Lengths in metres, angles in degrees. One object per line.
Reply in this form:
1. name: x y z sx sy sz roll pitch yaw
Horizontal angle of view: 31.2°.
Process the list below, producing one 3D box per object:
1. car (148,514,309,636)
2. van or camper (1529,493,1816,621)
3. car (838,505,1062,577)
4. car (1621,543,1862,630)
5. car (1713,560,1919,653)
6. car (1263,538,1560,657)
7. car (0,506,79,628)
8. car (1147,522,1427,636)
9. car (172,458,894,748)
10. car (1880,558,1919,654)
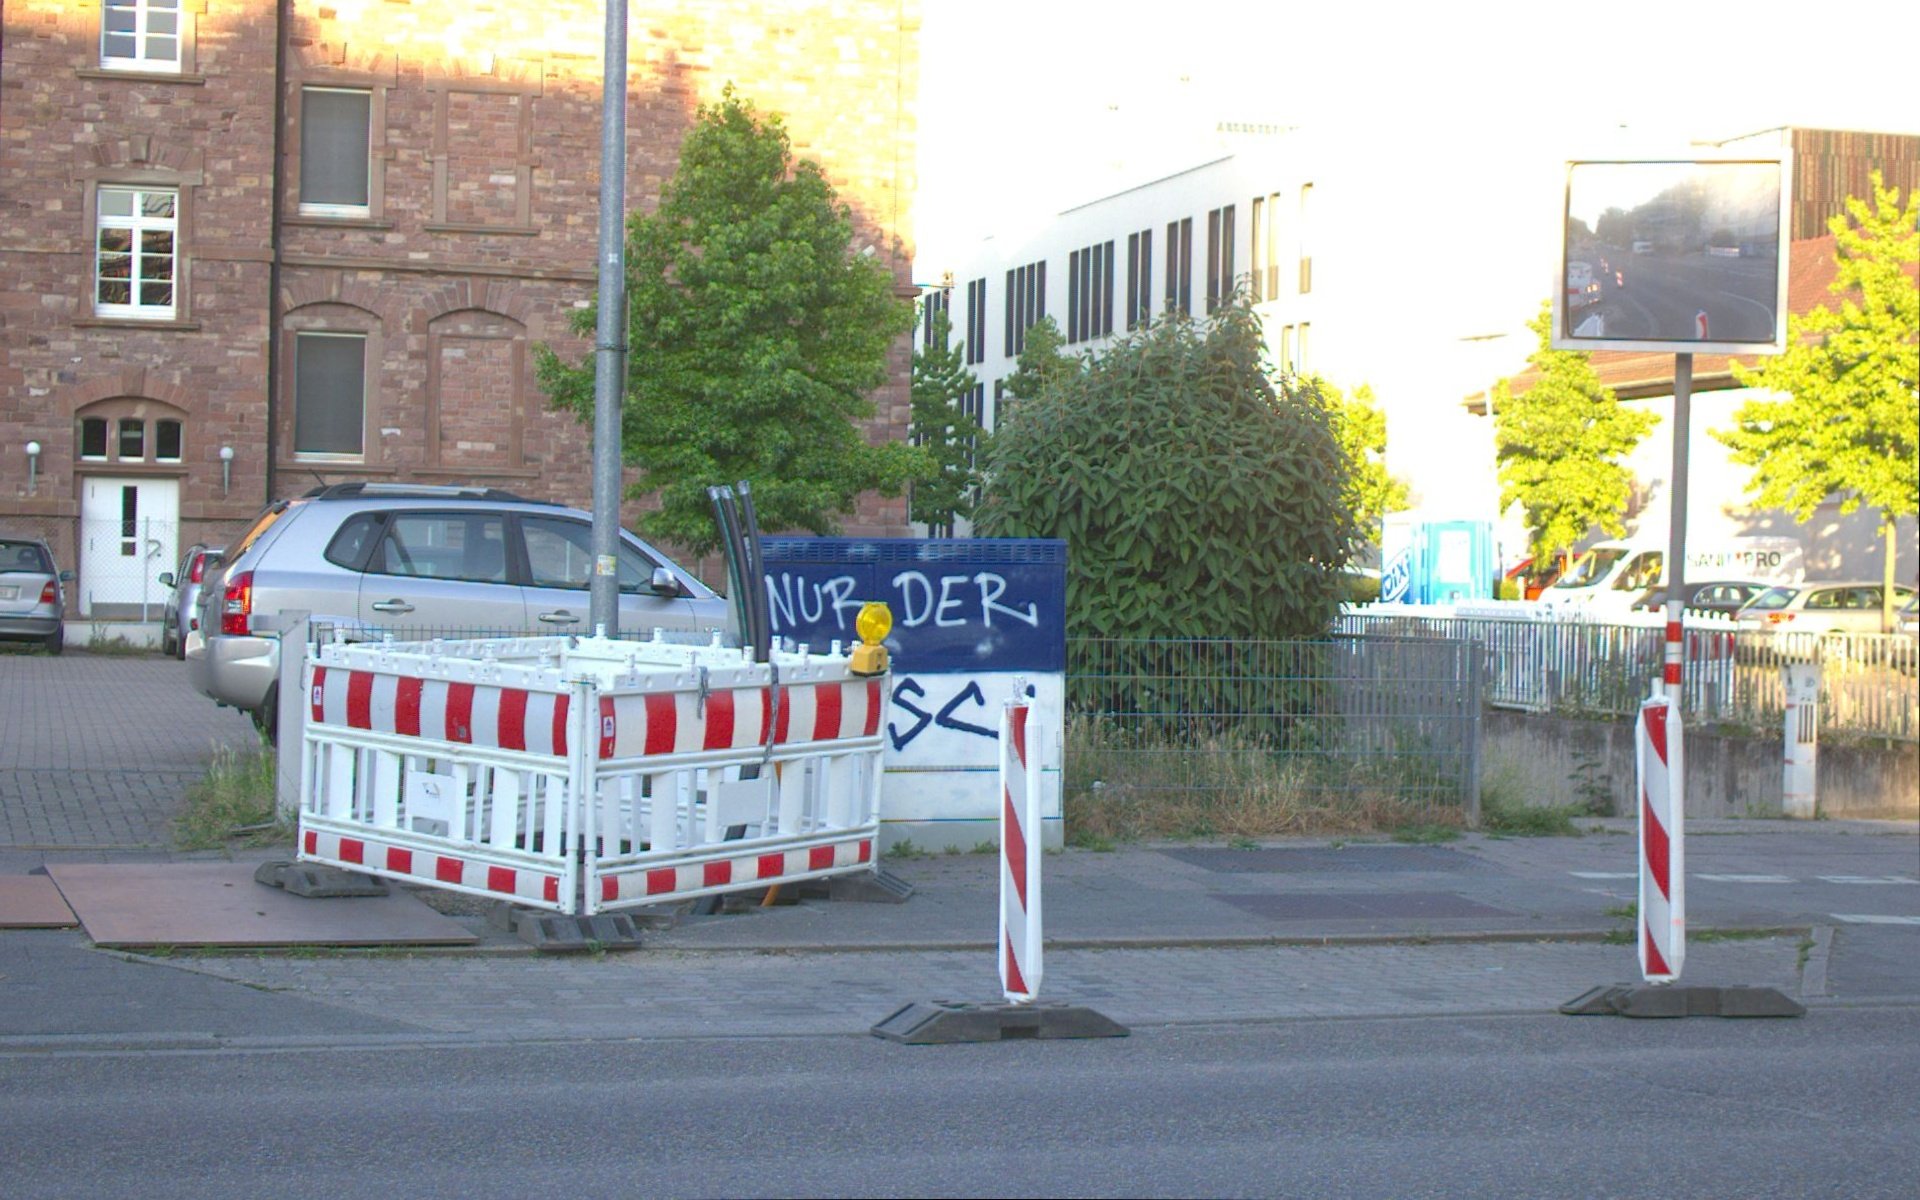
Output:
1. car: -9.905 -0.372 46.379 1.896 1.532 4.181 1 1 -15
2. van or camper: 13.153 -0.789 63.461 4.961 2.233 1.687 1 1 -18
3. car: -0.209 -1.147 67.262 3.986 1.308 1.878 1 1 -16
4. car: 13.676 -0.236 60.189 3.739 1.440 1.687 1 1 -18
5. car: 14.405 0.103 56.178 3.739 1.440 1.687 1 1 -18
6. car: 6.340 -0.038 48.344 3.739 1.597 1.687 1 1 -18
7. car: -12.645 -0.475 45.412 1.896 1.532 4.181 1 1 -15
8. car: 4.849 -0.313 51.043 3.739 1.597 1.687 1 1 -18
9. car: -2.709 0.020 21.615 4.268 1.703 1.703 1 1 -16
10. car: 16.151 0.116 52.470 3.739 1.440 1.687 1 1 -18
